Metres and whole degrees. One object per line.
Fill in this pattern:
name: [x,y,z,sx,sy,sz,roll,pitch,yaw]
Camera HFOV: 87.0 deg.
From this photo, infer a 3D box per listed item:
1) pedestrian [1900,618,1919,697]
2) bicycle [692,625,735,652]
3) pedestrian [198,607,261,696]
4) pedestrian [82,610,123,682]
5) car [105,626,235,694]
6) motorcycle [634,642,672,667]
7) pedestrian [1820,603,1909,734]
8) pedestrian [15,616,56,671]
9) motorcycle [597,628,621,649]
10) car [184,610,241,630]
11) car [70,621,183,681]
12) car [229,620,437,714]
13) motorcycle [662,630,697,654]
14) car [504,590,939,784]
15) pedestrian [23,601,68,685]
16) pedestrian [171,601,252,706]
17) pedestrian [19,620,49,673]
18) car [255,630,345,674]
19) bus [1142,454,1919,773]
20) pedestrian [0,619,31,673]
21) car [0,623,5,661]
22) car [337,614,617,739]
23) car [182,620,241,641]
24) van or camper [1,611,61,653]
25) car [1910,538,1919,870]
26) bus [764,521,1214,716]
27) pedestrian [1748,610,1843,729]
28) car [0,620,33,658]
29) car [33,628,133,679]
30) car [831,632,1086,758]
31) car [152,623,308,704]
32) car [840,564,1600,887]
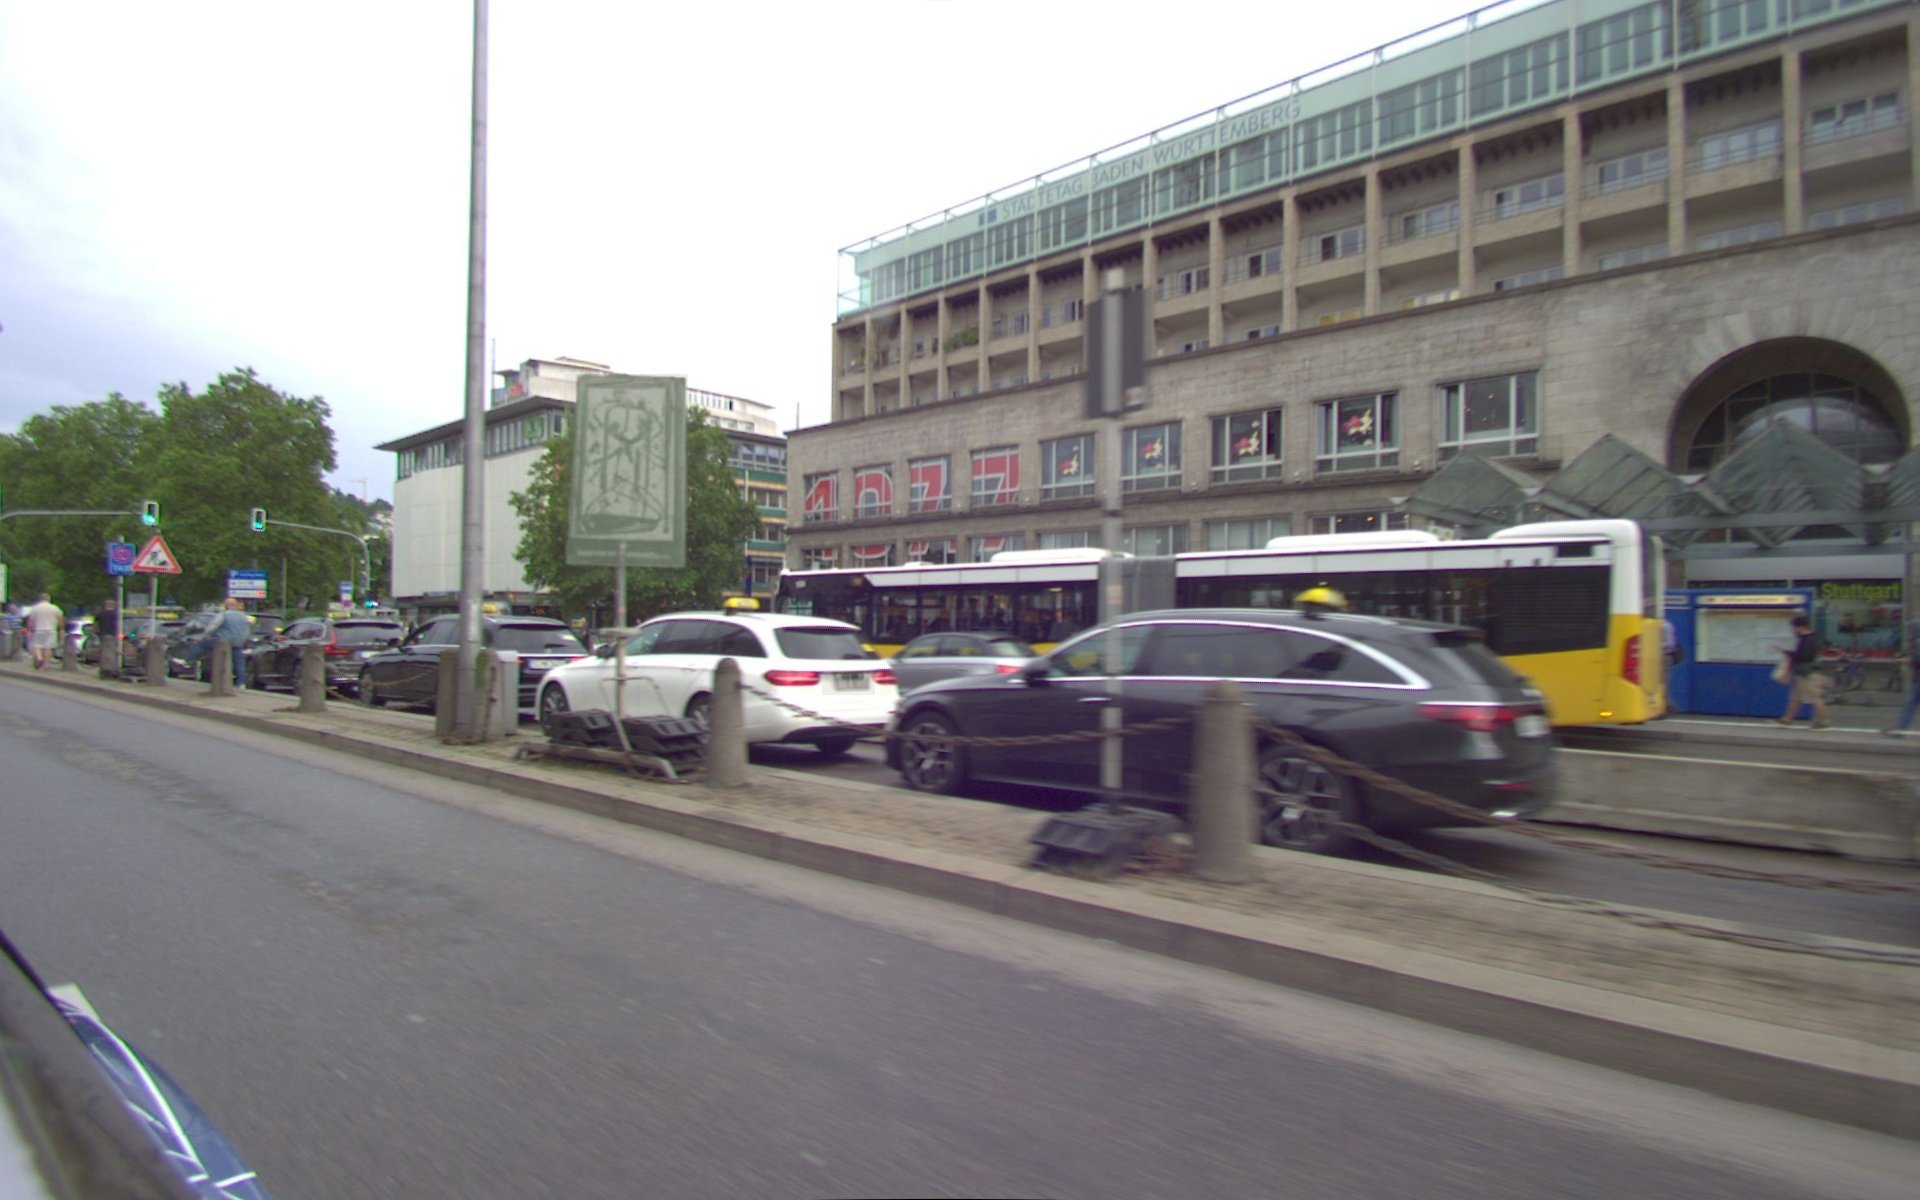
pedestrian: [19.747,1.173,20.664,0.757,1.579,0.623,-2,0,43]
bicycle: [-11.434,1.775,46.996,0.595,1.189,2.071,-2,0,33]
pedestrian: [-13.790,0.956,19.098,0.995,1.619,0.715,-2,0,41]
pedestrian: [-21.500,1.140,25.384,0.711,1.768,0.691,-2,-1,41]
car: [-21.910,1.597,28.012,4.679,1.703,1.910,-1,-2,41]
motorcycle: [-15.219,2.680,50.218,0.583,1.143,1.790,-1,-1,42]
pedestrian: [12.512,0.927,14.020,0.856,1.738,0.617,-2,0,42]
pedestrian: [-30.914,1.453,33.832,0.604,1.789,0.776,-1,-4,29]
motorcycle: [-18.303,2.014,52.743,0.574,1.065,1.626,-2,0,-41]
car: [-83.359,2.213,112.899,2.035,2.029,4.766,-2,-1,43]
car: [-26.132,1.545,31.669,4.679,1.703,1.910,-1,-2,41]
car: [-12.294,1.206,19.676,5.257,1.589,1.910,-1,-2,41]
motorcycle: [-13.563,2.005,48.992,0.580,1.065,1.696,-2,0,28]
car: [-2.819,0.803,11.156,5.189,1.672,1.956,-1,-2,40]
pedestrian: [-22.540,1.039,24.952,0.772,2.023,0.715,-2,0,41]
pedestrian: [-13.141,0.907,17.780,0.616,1.782,1.040,-1,-1,40]
pedestrian: [-30.994,1.555,33.872,0.592,1.724,0.645,-2,0,39]
car: [-27.880,2.156,42.716,4.679,1.703,1.910,-1,-2,41]
bus: [8.055,0.220,15.128,10.570,3.486,2.847,-1,-1,42]
pedestrian: [-31.861,1.543,34.034,0.550,1.789,0.754,2,-3,-15]
car: [-50.596,2.192,51.763,4.517,1.912,1.885,-2,0,39]
car: [-7.390,1.026,15.236,5.008,1.589,1.910,-1,-2,40]
car: [-66.006,2.659,89.352,3.683,1.554,1.857,-3,3,-12]
van or camper: [-58.371,2.028,63.566,5.365,2.533,1.973,-1,-4,39]
car: [6.434,0.510,3.194,4.882,1.712,1.910,-1,-2,41]
bus: [0.083,0.429,22.262,10.570,3.402,2.847,-1,-2,42]
pedestrian: [12.425,1.008,15.052,1.026,1.679,0.622,-2,0,43]
car: [-45.585,1.849,47.850,4.494,1.712,1.885,-2,0,39]
car: [-30.511,1.811,35.167,4.839,1.633,1.994,-2,-1,41]
car: [-0.099,1.524,17.602,4.116,1.842,1.974,-2,0,40]
car: [-17.329,1.419,23.930,4.679,1.703,1.910,-1,-2,41]
car: [1.562,0.670,7.376,5.048,1.589,1.910,-1,-2,40]
